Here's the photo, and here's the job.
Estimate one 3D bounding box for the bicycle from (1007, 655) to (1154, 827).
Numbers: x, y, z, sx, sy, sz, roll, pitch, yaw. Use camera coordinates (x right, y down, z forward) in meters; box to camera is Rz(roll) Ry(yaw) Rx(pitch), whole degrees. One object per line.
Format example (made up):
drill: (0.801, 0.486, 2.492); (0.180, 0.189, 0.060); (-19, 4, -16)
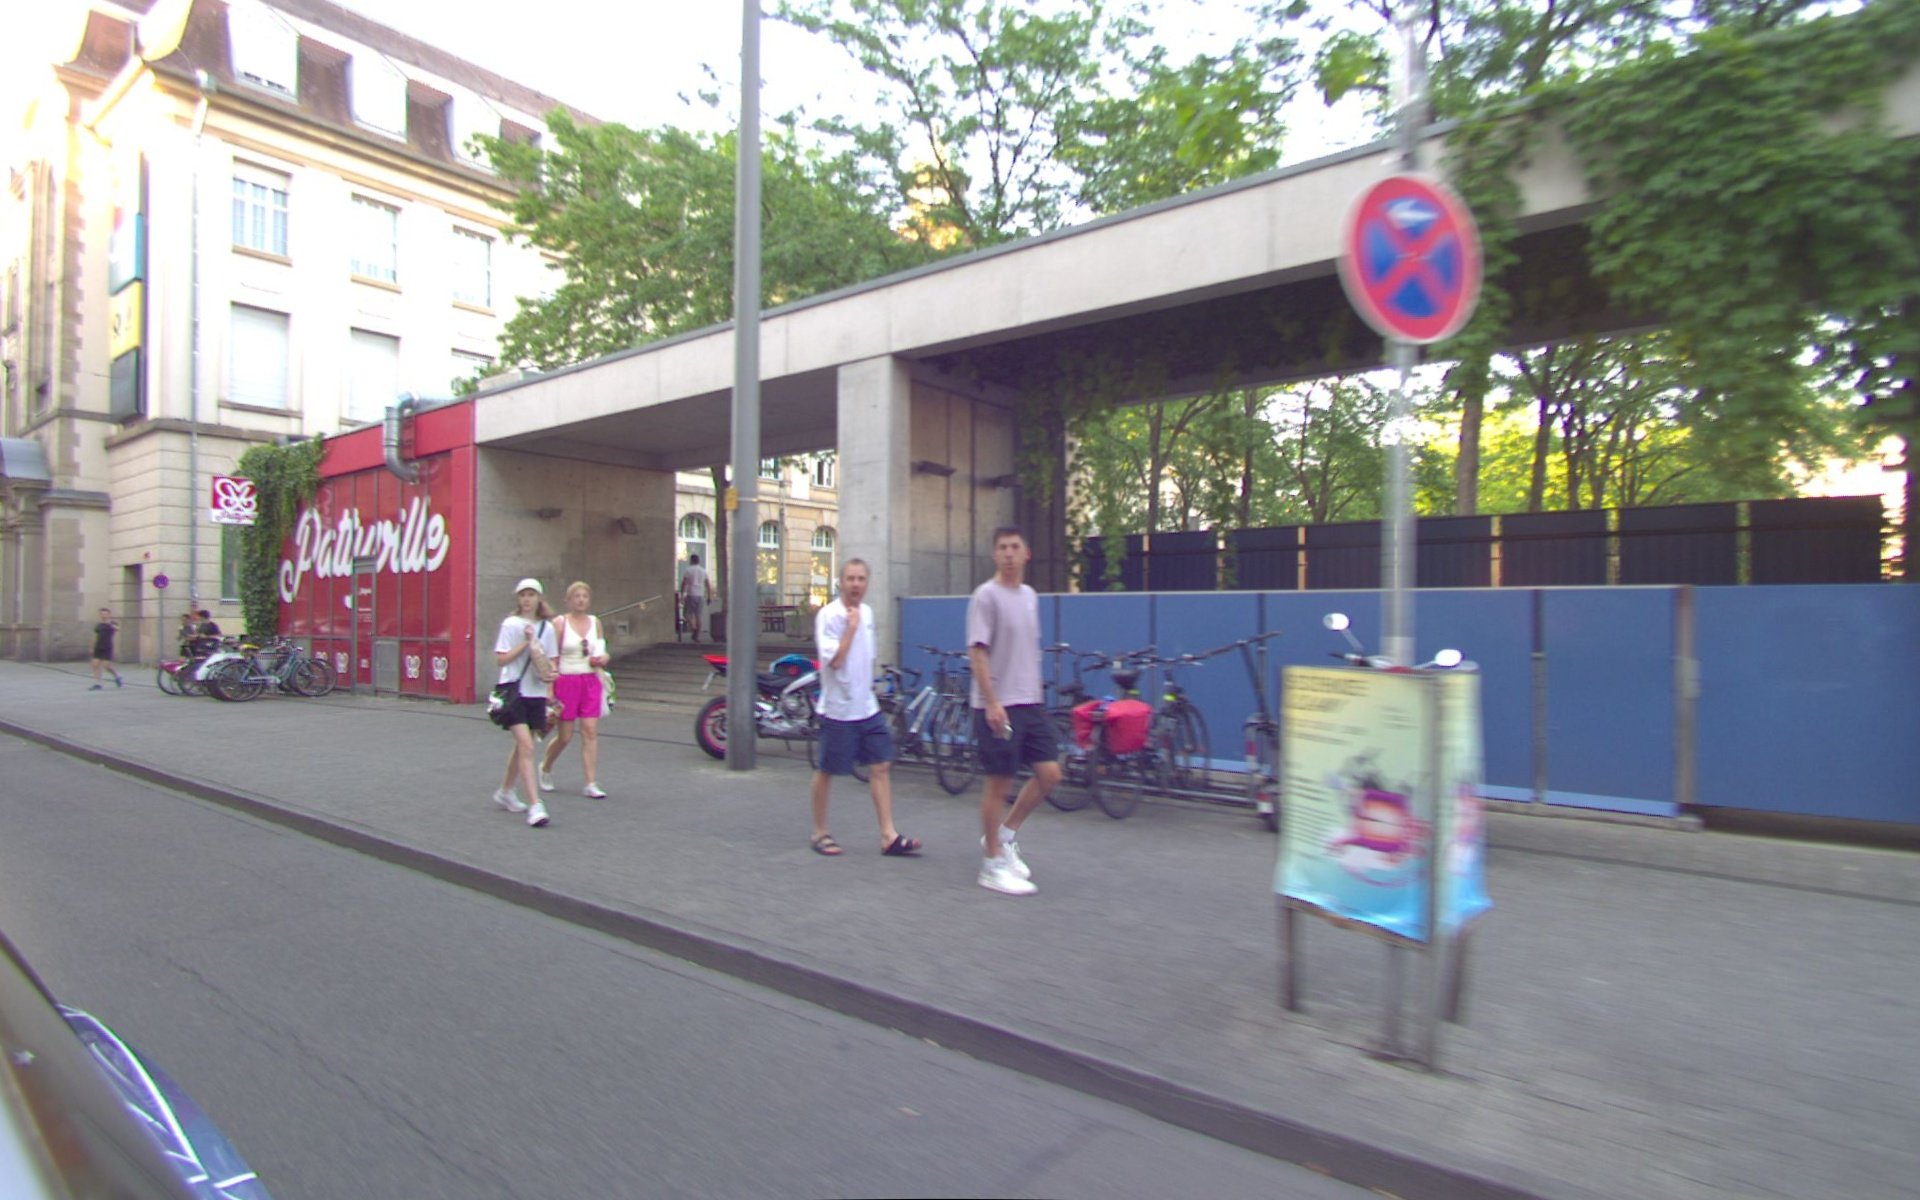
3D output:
bicycle: (0.934, 0.987, 7.535); (0.441, 1.077, 1.480); (-2, -1, 34)

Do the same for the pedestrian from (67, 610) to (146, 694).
pedestrian: (-19.279, 1.156, 22.877); (0.936, 1.841, 1.004); (-1, -1, 11)

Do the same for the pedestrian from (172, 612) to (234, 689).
pedestrian: (-17.457, 1.151, 23.348); (0.830, 1.740, 0.911); (-1, -1, 30)

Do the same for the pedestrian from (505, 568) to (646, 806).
pedestrian: (-3.127, 0.665, 8.251); (0.736, 1.807, 0.801); (-2, -1, 40)

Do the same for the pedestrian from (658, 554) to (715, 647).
pedestrian: (-5.541, 0.015, 20.547); (0.932, 1.841, 0.833); (-1, -1, -3)

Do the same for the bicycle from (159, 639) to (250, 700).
bicycle: (-15.361, 1.395, 20.611); (0.311, 1.149, 1.486); (-2, -1, 29)

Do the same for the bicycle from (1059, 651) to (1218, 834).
bicycle: (1.315, 0.955, 7.270); (0.546, 1.096, 1.480); (-2, -1, 34)

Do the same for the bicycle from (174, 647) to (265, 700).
bicycle: (-14.817, 1.457, 20.282); (0.311, 0.963, 1.486); (-2, -1, 29)

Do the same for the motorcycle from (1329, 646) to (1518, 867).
motorcycle: (2.874, 0.900, 6.468); (0.530, 1.135, 1.825); (-1, -1, 7)

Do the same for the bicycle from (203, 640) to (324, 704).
bicycle: (-12.935, 1.313, 18.844); (0.354, 1.091, 1.819); (-2, -1, 44)

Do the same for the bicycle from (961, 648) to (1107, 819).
bicycle: (0.602, 0.959, 7.756); (0.410, 1.120, 1.480); (-2, -1, 34)

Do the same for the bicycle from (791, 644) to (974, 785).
bicycle: (-0.666, 0.995, 9.351); (0.550, 1.095, 1.849); (-2, -1, 39)

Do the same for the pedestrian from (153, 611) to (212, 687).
pedestrian: (-18.286, 1.130, 23.807); (0.701, 1.740, 0.910); (-1, -1, 33)

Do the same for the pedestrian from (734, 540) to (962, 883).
pedestrian: (-0.655, 0.593, 5.997); (0.889, 1.807, 0.972); (-2, -1, 40)

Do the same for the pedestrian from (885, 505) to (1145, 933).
pedestrian: (0.290, 0.532, 5.152); (0.889, 1.898, 0.972); (-2, -1, 40)

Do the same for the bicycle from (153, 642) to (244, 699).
bicycle: (-15.641, 1.427, 20.810); (0.311, 1.084, 1.486); (-2, -1, 29)

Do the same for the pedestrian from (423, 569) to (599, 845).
pedestrian: (-3.212, 0.706, 7.243); (0.868, 1.807, 0.840); (-2, -1, 40)

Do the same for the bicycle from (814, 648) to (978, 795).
bicycle: (-0.524, 0.992, 8.695); (0.436, 1.096, 1.476); (-2, -1, 45)

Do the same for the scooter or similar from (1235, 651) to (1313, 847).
scooter or similar: (2.138, 0.931, 6.820); (0.408, 1.096, 1.487); (-1, -1, 20)

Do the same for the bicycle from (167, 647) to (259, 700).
bicycle: (-15.074, 1.466, 20.457); (0.311, 0.986, 1.486); (-2, -1, 29)

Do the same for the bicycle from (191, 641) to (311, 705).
bicycle: (-13.332, 1.353, 19.069); (0.354, 1.091, 1.819); (-2, -1, 44)

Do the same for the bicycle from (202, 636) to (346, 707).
bicycle: (-12.608, 1.282, 18.667); (0.446, 1.164, 2.151); (-2, -1, 44)

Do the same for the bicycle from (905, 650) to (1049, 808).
bicycle: (0.172, 0.992, 8.220); (0.410, 1.096, 1.480); (-2, -1, 34)

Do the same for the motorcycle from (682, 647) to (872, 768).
motorcycle: (-1.840, 1.048, 10.247); (1.797, 1.077, 0.535); (-1, -1, -23)
